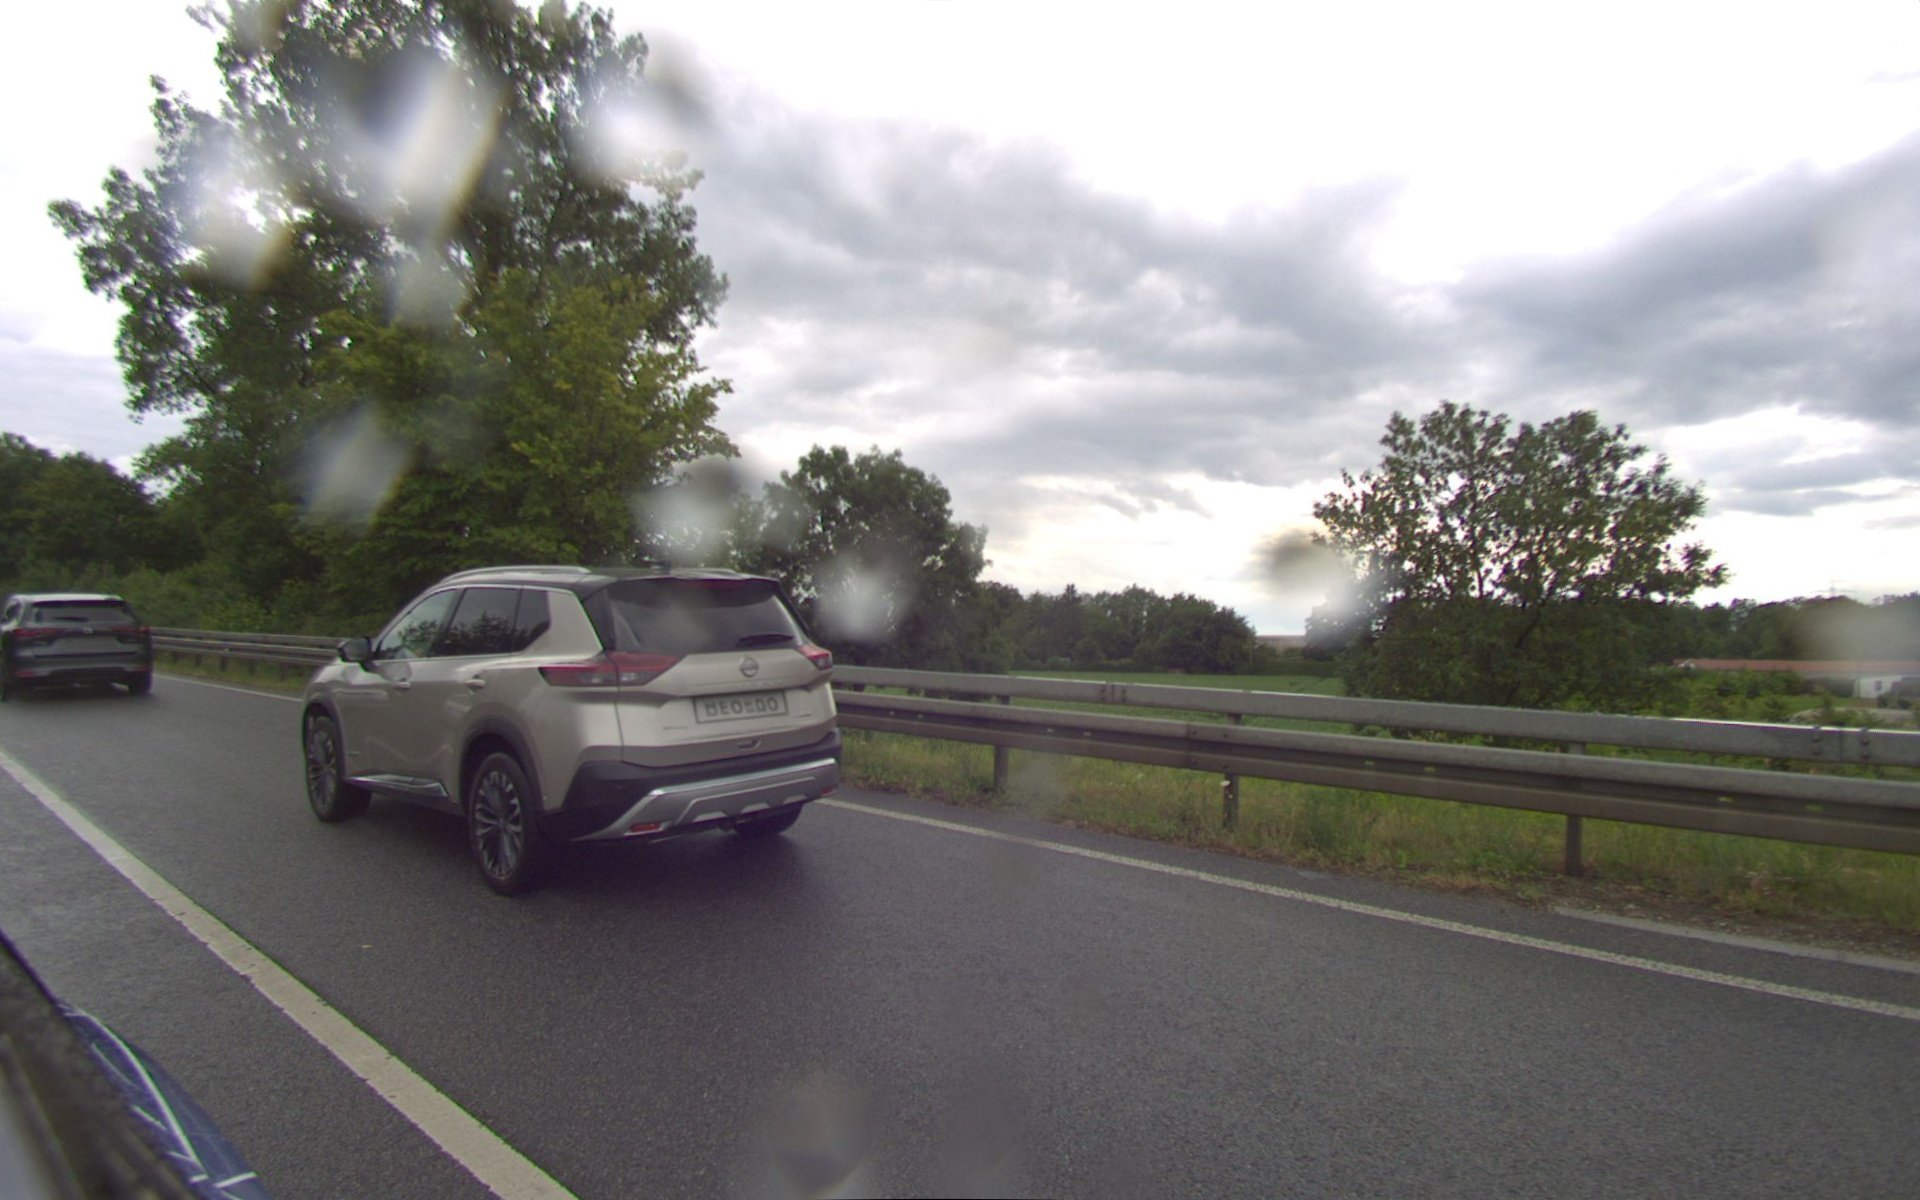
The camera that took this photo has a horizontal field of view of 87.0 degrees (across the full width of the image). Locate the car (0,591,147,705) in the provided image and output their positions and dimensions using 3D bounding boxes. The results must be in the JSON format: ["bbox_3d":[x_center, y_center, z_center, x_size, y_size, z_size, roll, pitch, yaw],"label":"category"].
[{"bbox_3d":[-15.202,0.736,16.974,4.523,1.666,1.728,-1,-1,42],"label":"car"}]

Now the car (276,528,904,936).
[{"bbox_3d":[-2.573,0.586,6.396,4.386,1.713,1.822,-1,0,41],"label":"car"}]
